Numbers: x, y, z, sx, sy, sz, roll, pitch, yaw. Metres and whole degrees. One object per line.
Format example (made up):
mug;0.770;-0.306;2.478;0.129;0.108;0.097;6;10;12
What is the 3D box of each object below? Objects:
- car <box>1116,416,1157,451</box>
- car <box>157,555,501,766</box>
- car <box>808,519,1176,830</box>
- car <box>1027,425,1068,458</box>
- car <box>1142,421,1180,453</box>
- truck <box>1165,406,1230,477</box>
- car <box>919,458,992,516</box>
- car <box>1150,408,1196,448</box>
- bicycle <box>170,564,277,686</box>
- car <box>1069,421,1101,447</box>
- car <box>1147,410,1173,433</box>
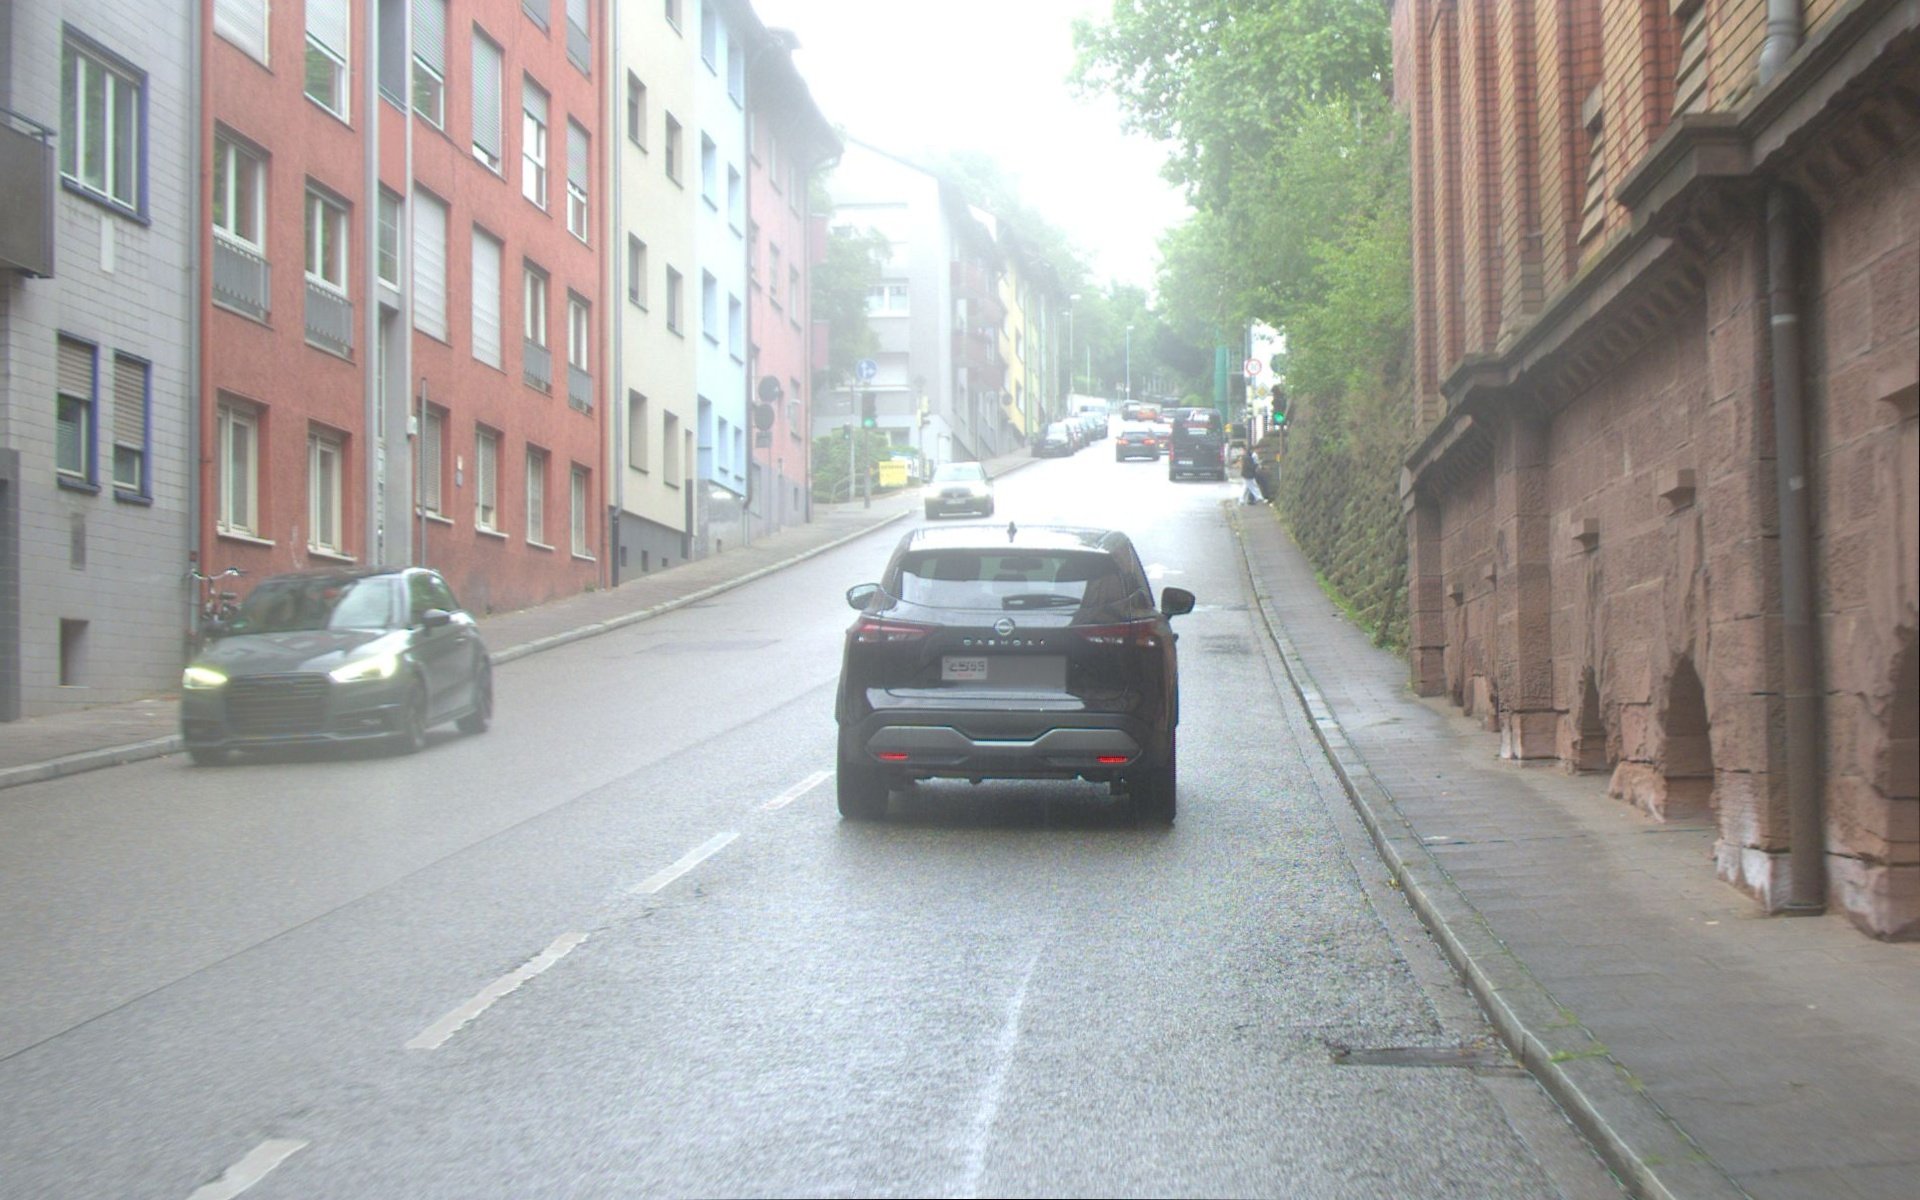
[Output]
car;8.060;-7.596;156.836;1.794;1.505;4.000;-1;2;4
car;-4.704;0.404;26.133;1.644;1.373;3.850;-2;1;3
car;0.225;0.348;19.557;1.881;1.588;3.921;0;1;2
car;4.315;-7.766;168.664;1.794;1.505;4.000;-1;2;4
car;9.929;-8.051;169.690;1.794;1.505;4.000;-1;2;4
truck;8.530;-5.665;123.442;2.290;2.431;4.452;-1;2;4
car;-0.098;-3.053;92.076;1.714;1.443;3.921;-1;3;3
car;8.561;-6.906;138.249;1.794;1.505;4.500;-1;2;4
bicycle;-7.199;0.230;33.667;0.498;1.104;1.800;0;2;5
car;7.768;-10.288;213.056;1.794;1.505;4.000;-1;2;4
car;14.317;-12.723;245.483;1.794;1.505;4.000;-1;2;4
